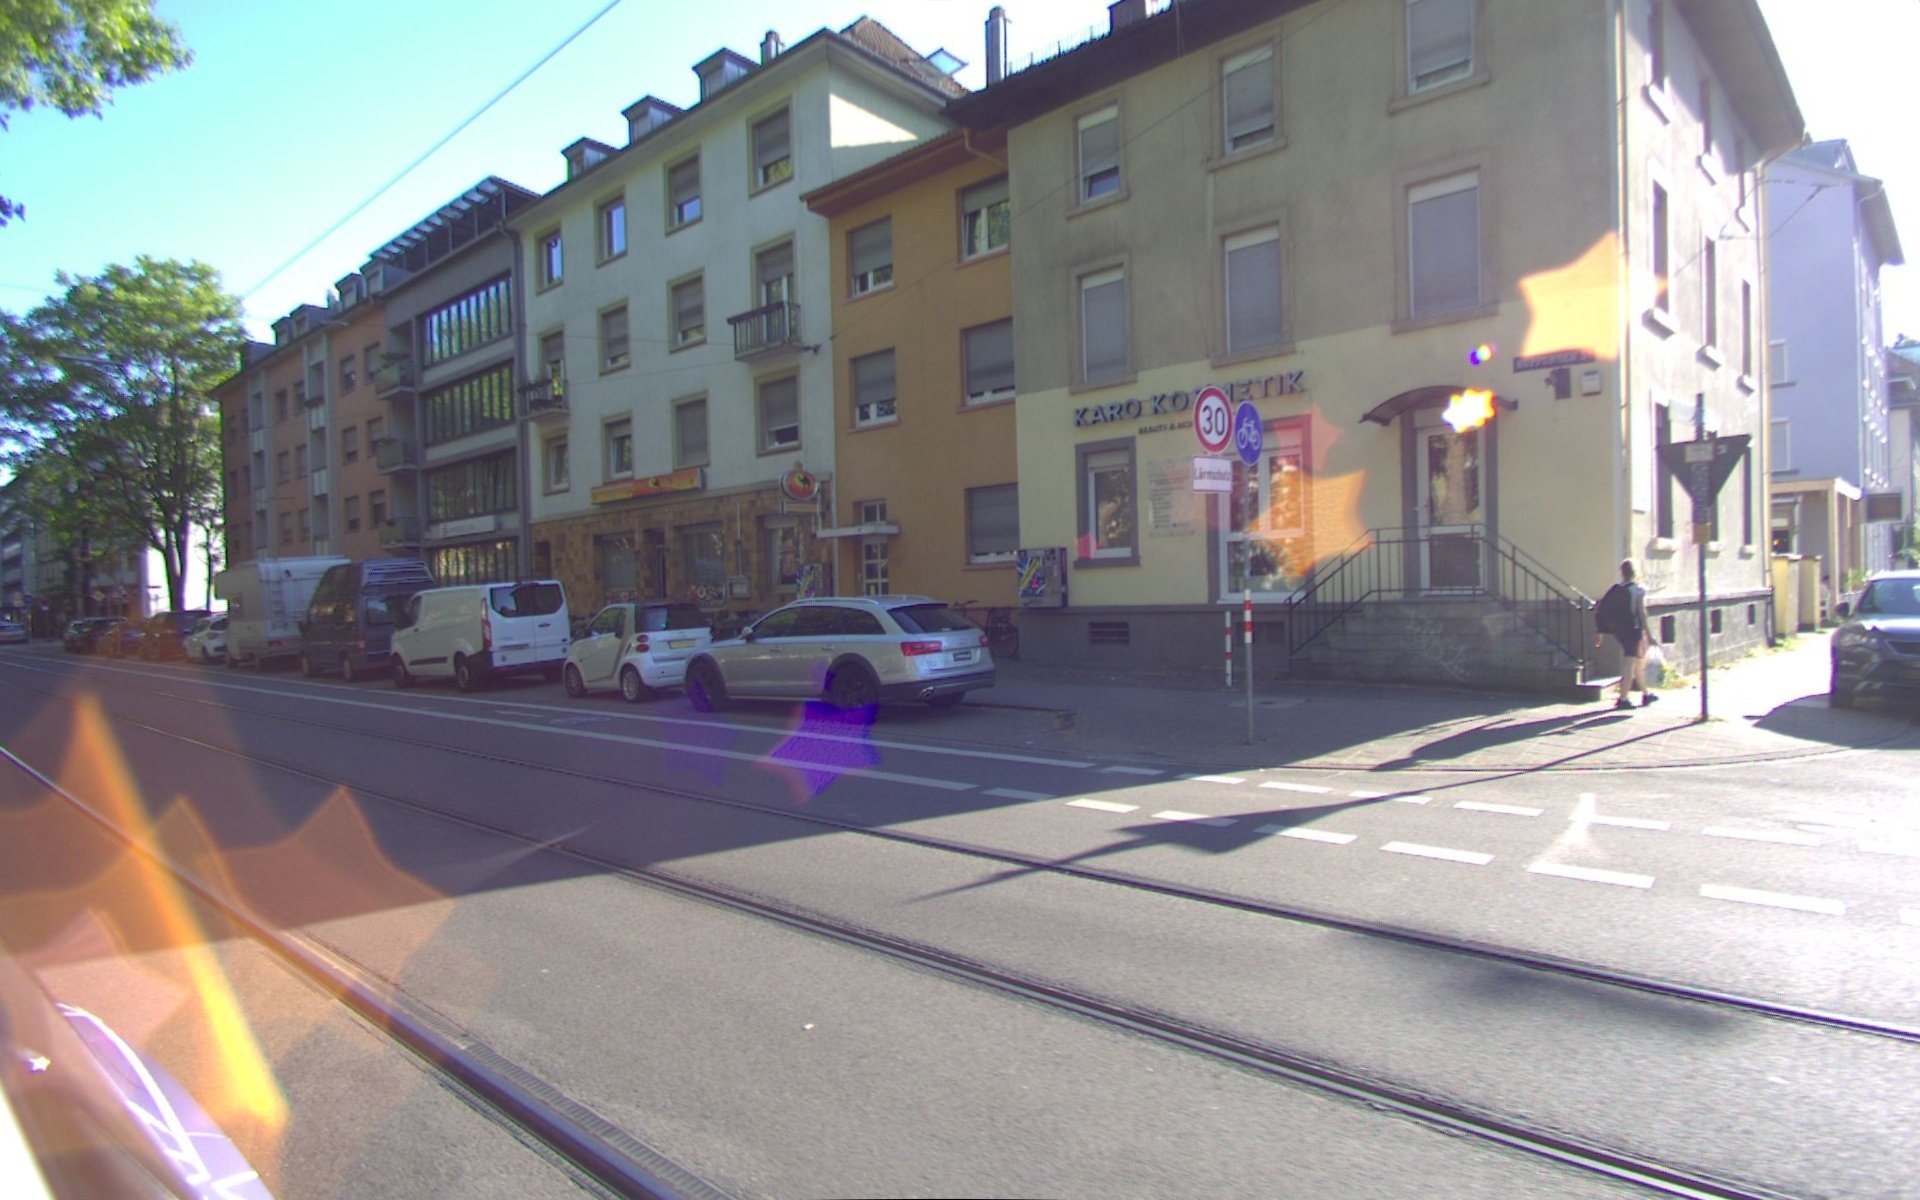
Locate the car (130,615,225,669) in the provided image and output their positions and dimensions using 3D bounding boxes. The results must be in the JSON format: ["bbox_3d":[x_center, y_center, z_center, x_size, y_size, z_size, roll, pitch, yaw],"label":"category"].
[{"bbox_3d":[-28.272,1.490,36.523,4.432,1.767,1.769,-2,1,40],"label":"car"}]

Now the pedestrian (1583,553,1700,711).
[{"bbox_3d":[7.245,0.308,10.776,0.762,1.598,0.755,-1,3,-33],"label":"pedestrian"}]

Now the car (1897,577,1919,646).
[{"bbox_3d":[21.248,0.189,21.394,1.967,1.399,4.016,-2,0,44],"label":"car"}]

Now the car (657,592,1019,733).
[{"bbox_3d":[-1.760,0.732,13.360,4.935,1.503,1.754,-2,1,39],"label":"car"}]

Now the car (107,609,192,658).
[{"bbox_3d":[-32.153,1.319,40.119,4.432,1.767,1.769,-2,1,40],"label":"car"}]

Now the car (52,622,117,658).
[{"bbox_3d":[-43.547,1.969,50.306,4.095,1.607,1.769,-2,1,40],"label":"car"}]

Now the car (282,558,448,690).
[{"bbox_3d":[-14.305,0.549,24.241,4.544,2.766,1.903,-2,4,42],"label":"car"}]

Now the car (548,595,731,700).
[{"bbox_3d":[-5.275,0.729,16.557,2.882,1.503,1.554,-2,1,42],"label":"car"}]

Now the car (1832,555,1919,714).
[{"bbox_3d":[11.482,0.318,11.610,1.967,1.630,4.016,-2,0,44],"label":"car"}]

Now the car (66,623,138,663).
[{"bbox_3d":[-39.279,1.943,46.315,4.432,1.682,1.769,-2,1,40],"label":"car"}]

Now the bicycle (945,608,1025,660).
[{"bbox_3d":[0.456,0.642,19.059,1.646,0.935,0.358,-2,0,42],"label":"bicycle"}]

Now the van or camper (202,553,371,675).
[{"bbox_3d":[-19.236,0.377,28.784,5.989,2.999,2.392,-2,4,42],"label":"van or camper"}]

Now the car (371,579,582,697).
[{"bbox_3d":[-9.776,0.705,20.295,4.937,2.061,1.903,-2,1,40],"label":"car"}]

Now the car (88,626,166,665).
[{"bbox_3d":[-35.675,1.902,43.305,4.432,1.481,1.769,-2,1,40],"label":"car"}]

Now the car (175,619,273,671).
[{"bbox_3d":[-23.992,1.435,32.978,3.471,1.526,1.769,-2,1,40],"label":"car"}]
